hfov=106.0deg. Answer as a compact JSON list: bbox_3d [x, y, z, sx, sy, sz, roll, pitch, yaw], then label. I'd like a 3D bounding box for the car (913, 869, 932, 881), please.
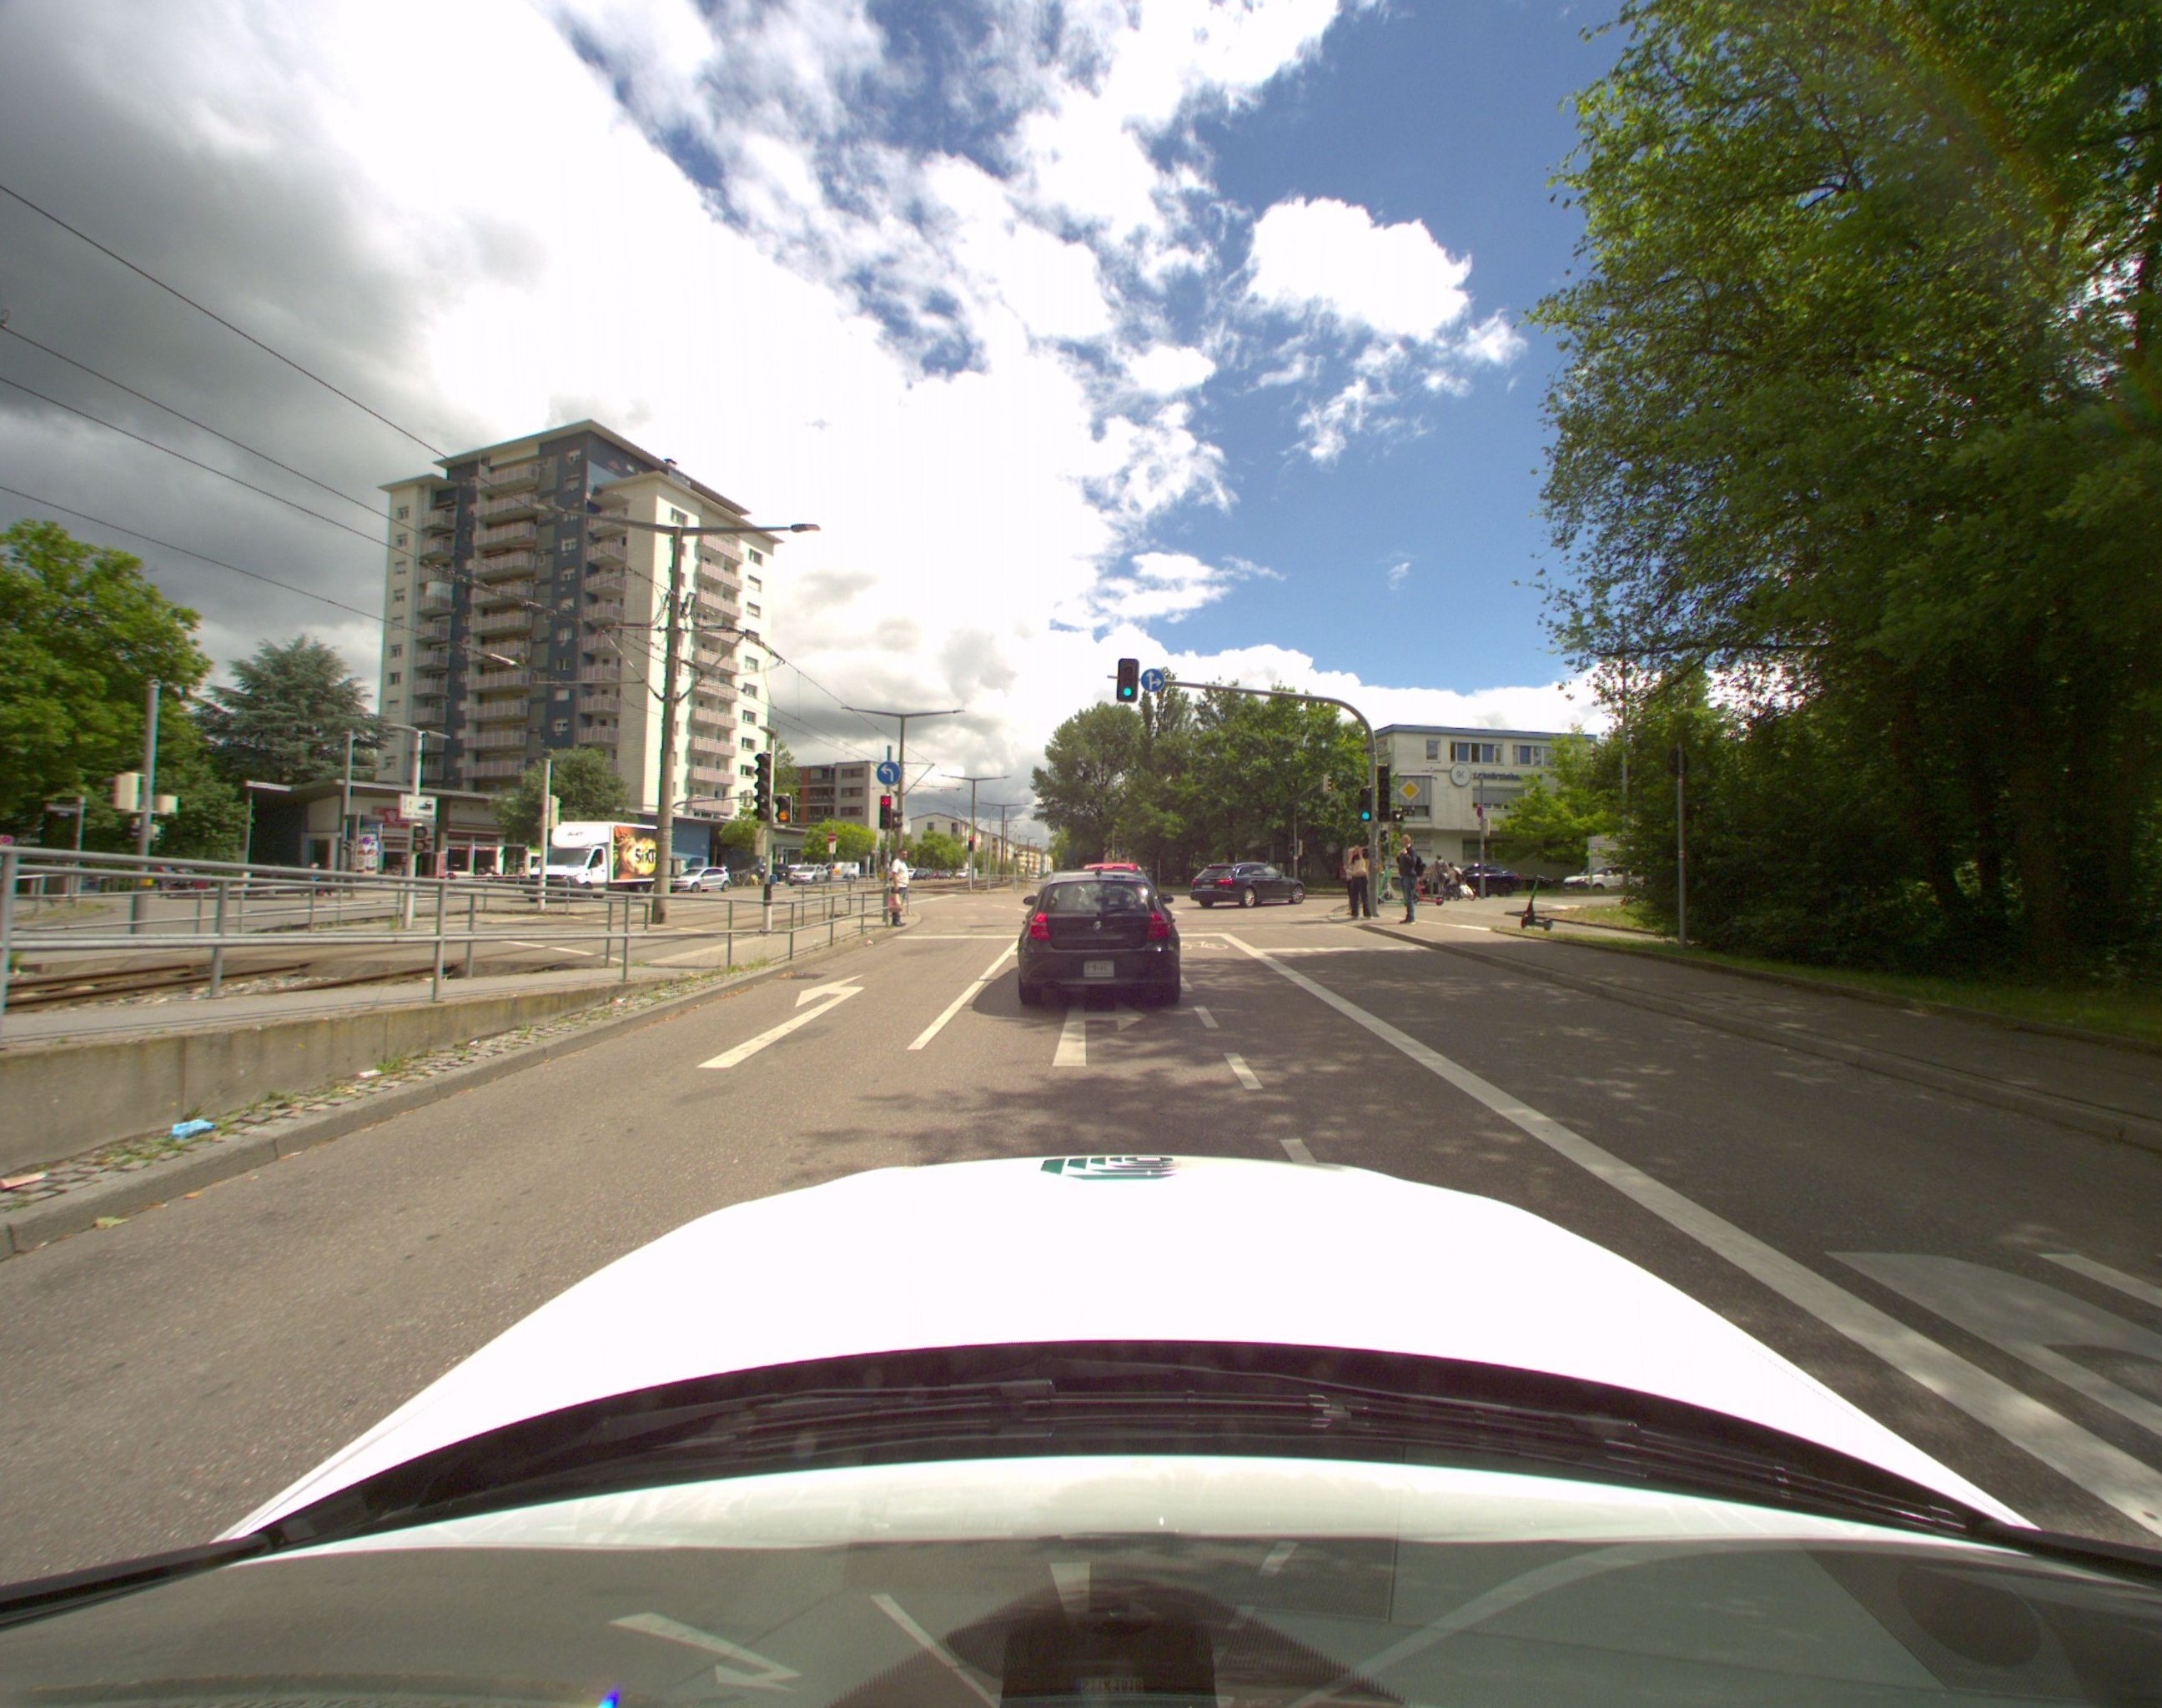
[{"bbox_3d":[-20.289,2.705,104.318,1.645,1.534,3.872,0,-1,1],"label":"car"}]

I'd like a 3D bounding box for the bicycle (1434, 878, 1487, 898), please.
[{"bbox_3d":[12.726,1.142,27.344,0.536,0.610,1.575,0,-1,-31],"label":"bicycle"}]

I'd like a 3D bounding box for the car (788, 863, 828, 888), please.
[{"bbox_3d":[-20.021,1.523,59.818,1.585,1.756,3.775,0,-1,1],"label":"car"}]

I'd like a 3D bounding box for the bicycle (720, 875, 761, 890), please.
[{"bbox_3d":[-24.165,2.022,57.815,2.569,1.009,0.749,2,-3,-26],"label":"bicycle"}]

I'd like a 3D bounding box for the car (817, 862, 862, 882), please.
[{"bbox_3d":[-23.896,1.766,80.594,3.944,1.975,1.637,0,-1,-40],"label":"car"}]

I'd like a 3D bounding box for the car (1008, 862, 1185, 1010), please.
[{"bbox_3d":[0.214,0.801,9.506,1.693,1.400,3.422,0,0,2],"label":"car"}]

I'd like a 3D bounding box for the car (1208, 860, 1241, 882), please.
[{"bbox_3d":[12.307,1.460,70.110,1.724,1.871,3.991,0,-1,-6],"label":"car"}]

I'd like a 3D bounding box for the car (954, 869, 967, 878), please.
[{"bbox_3d":[-20.031,3.261,135.642,1.645,1.534,3.872,0,-1,1],"label":"car"}]

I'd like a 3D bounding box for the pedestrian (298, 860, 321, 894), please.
[{"bbox_3d":[-37.311,1.106,39.387,0.365,1.670,0.718,0,-1,5],"label":"pedestrian"}]

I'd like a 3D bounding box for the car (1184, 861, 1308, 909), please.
[{"bbox_3d":[5.578,0.964,27.198,1.883,1.422,4.565,-1,-1,45],"label":"car"}]

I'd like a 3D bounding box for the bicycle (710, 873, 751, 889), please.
[{"bbox_3d":[-24.000,1.858,55.760,2.569,1.009,0.749,2,-3,-26],"label":"bicycle"}]

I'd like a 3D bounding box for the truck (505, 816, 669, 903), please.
[{"bbox_3d":[-19.586,0.248,32.882,2.275,3.118,7.313,0,-1,-2],"label":"truck"}]

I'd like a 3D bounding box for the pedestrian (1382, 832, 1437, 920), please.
[{"bbox_3d":[7.187,0.475,17.865,0.792,1.876,1.014,0,-1,1],"label":"pedestrian"}]

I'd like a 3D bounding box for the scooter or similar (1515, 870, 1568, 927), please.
[{"bbox_3d":[10.605,1.024,18.756,0.886,1.230,0.455,4,-1,2],"label":"scooter or similar"}]

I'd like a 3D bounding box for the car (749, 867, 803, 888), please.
[{"bbox_3d":[-25.763,1.963,68.803,3.946,1.647,1.636,0,-1,-43],"label":"car"}]

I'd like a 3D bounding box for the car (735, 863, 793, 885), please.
[{"bbox_3d":[-24.772,1.553,63.636,4.012,1.687,1.561,0,-1,-31],"label":"car"}]

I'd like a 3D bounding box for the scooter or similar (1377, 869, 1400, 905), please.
[{"bbox_3d":[9.499,1.011,25.191,0.543,1.064,1.267,0,0,16],"label":"scooter or similar"}]

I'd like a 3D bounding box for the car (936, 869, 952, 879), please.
[{"bbox_3d":[-20.402,2.941,121.255,1.645,1.534,3.872,0,-1,1],"label":"car"}]

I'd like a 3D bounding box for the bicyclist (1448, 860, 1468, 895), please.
[{"bbox_3d":[12.690,0.776,27.392,0.504,1.157,0.395,0,-1,-32],"label":"bicyclist"}]

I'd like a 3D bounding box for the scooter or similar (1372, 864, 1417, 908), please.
[{"bbox_3d":[8.916,0.899,23.189,1.104,1.235,0.540,0,-1,4],"label":"scooter or similar"}]

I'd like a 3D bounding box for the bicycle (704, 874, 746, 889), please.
[{"bbox_3d":[-23.886,1.853,54.654,2.569,1.009,0.749,2,-3,-26],"label":"bicycle"}]

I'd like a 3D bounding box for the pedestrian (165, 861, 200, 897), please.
[{"bbox_3d":[-34.642,0.970,31.404,0.537,1.375,0.677,0,-1,1],"label":"pedestrian"}]

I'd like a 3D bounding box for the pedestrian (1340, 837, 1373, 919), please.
[{"bbox_3d":[6.436,0.553,19.028,0.632,1.876,0.519,0,-1,8],"label":"pedestrian"}]

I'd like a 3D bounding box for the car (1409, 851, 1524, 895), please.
[{"bbox_3d":[18.145,0.902,38.436,4.528,2.014,1.996,0,-1,-5],"label":"car"}]

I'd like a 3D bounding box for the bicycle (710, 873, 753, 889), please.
[{"bbox_3d":[-23.246,1.801,54.114,2.569,1.009,0.749,2,-3,-26],"label":"bicycle"}]

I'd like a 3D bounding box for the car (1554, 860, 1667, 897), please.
[{"bbox_3d":[25.707,1.181,39.634,4.366,1.764,1.995,0,-1,-7],"label":"car"}]

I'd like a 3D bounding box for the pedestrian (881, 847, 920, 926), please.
[{"bbox_3d":[-4.068,0.720,18.400,0.684,1.734,0.688,-1,-1,2],"label":"pedestrian"}]

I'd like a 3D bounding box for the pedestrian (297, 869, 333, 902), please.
[{"bbox_3d":[-35.427,1.456,37.673,0.743,1.510,0.922,0,-1,-5],"label":"pedestrian"}]

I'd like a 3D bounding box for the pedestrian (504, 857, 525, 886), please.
[{"bbox_3d":[-39.110,1.190,56.224,0.851,2.014,0.852,-1,-1,30],"label":"pedestrian"}]

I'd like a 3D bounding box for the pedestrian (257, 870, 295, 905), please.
[{"bbox_3d":[-35.516,1.450,35.950,0.743,1.510,0.922,0,-1,-5],"label":"pedestrian"}]

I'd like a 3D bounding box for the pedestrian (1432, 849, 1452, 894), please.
[{"bbox_3d":[13.920,0.667,31.360,0.651,1.713,0.464,-1,-1,28],"label":"pedestrian"}]

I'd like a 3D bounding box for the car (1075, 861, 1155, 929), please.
[{"bbox_3d":[0.765,0.857,18.495,1.632,1.400,3.422,0,0,2],"label":"car"}]

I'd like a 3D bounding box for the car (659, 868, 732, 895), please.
[{"bbox_3d":[-21.661,1.505,45.860,1.395,1.461,3.793,0,-1,20],"label":"car"}]

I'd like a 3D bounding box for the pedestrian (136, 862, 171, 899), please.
[{"bbox_3d":[-34.645,0.972,30.430,0.474,1.375,0.677,0,-1,1],"label":"pedestrian"}]

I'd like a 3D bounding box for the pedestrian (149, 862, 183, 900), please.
[{"bbox_3d":[-35.593,1.047,31.677,0.557,1.468,0.663,0,-1,-2],"label":"pedestrian"}]

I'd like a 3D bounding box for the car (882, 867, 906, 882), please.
[{"bbox_3d":[-19.643,2.110,85.625,1.645,1.534,3.872,0,-1,1],"label":"car"}]

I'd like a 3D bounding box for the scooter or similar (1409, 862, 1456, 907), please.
[{"bbox_3d":[10.362,0.894,23.998,1.145,1.272,0.556,1,-1,4],"label":"scooter or similar"}]
